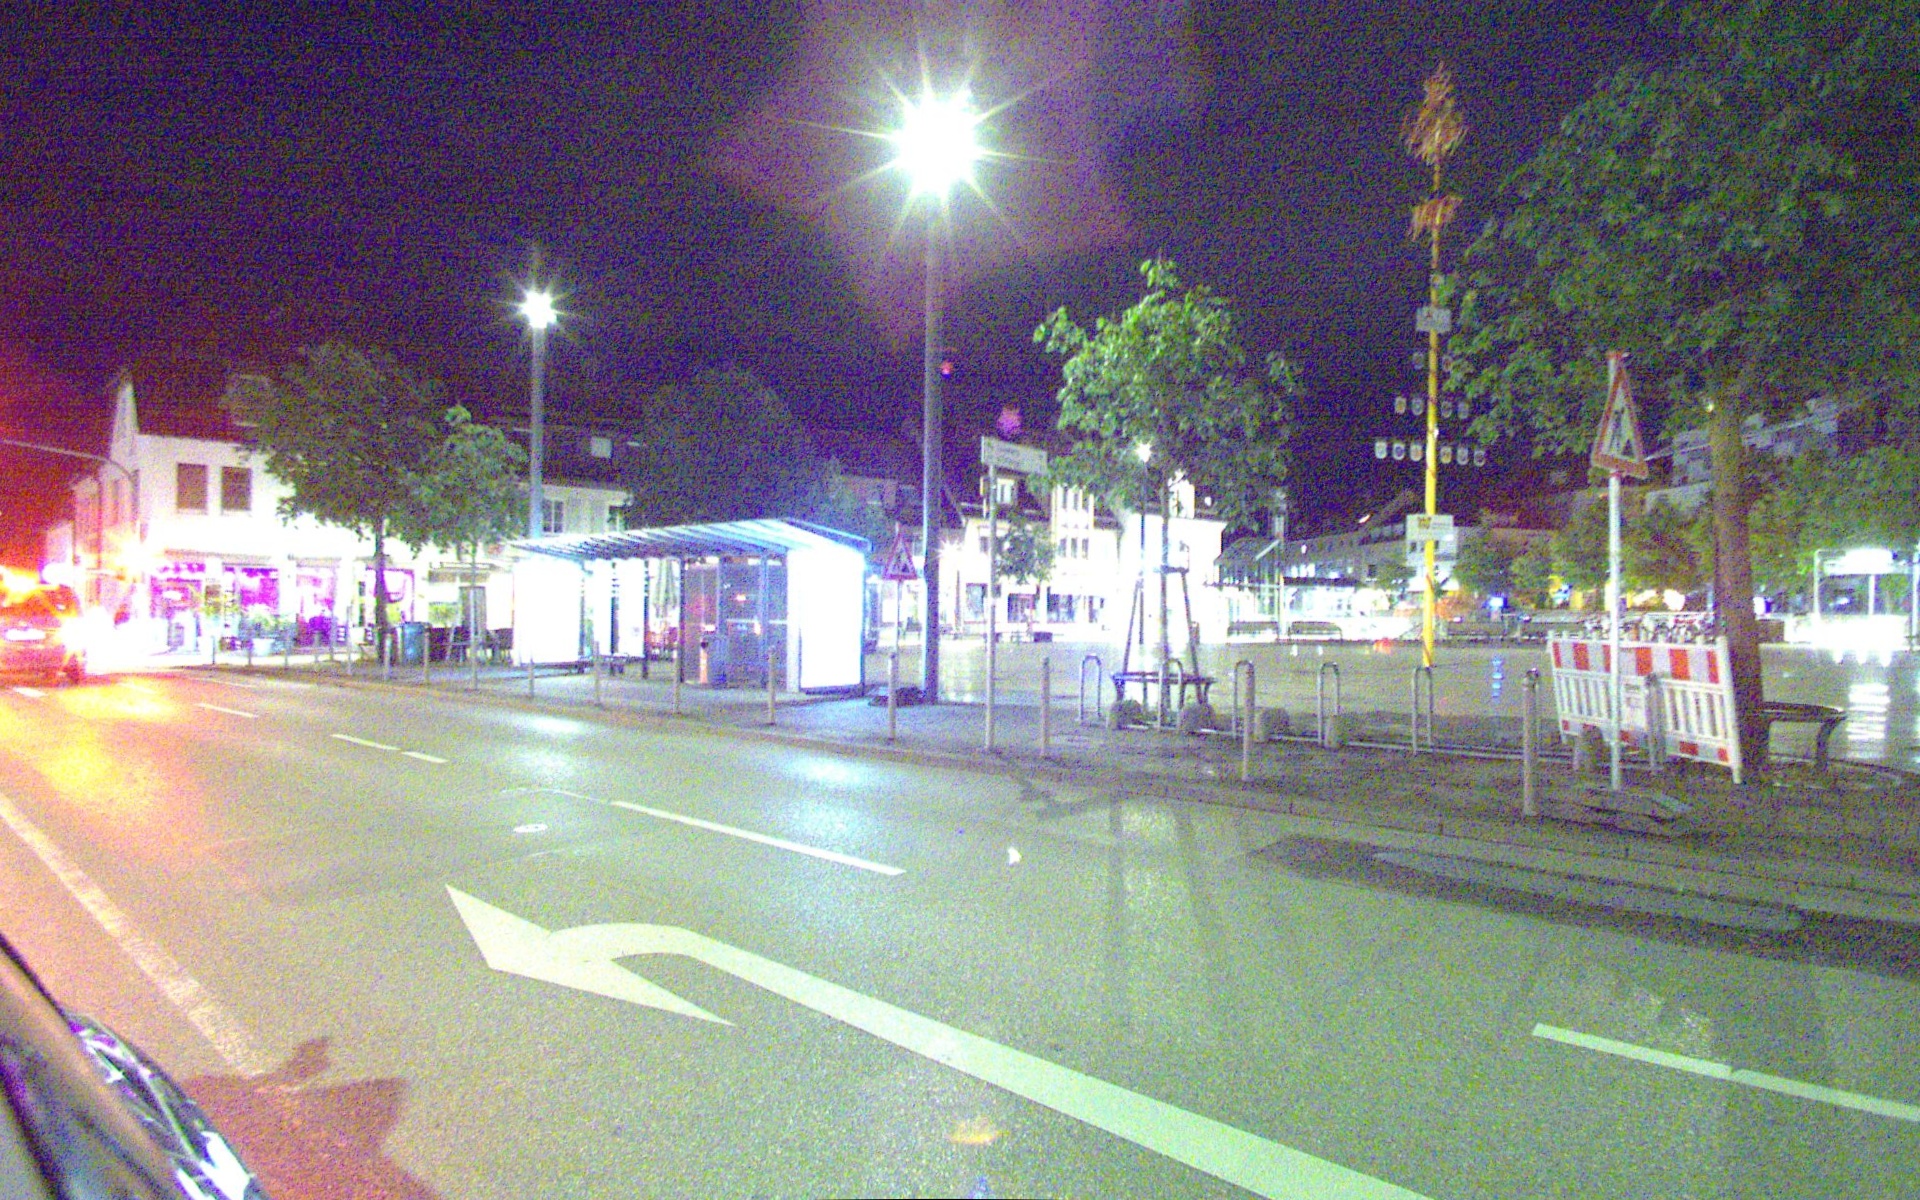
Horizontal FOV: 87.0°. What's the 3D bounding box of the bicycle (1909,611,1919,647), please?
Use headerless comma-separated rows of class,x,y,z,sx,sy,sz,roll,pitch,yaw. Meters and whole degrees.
bicycle,26.411,0.762,26.975,1.525,0.965,0.476,-1,0,25

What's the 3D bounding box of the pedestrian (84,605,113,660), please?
pedestrian,-26.012,0.968,30.574,0.637,1.640,0.584,-1,0,-39

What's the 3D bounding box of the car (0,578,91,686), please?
car,-18.520,0.593,19.600,4.911,1.886,1.946,-1,-1,42

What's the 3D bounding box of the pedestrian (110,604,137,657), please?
pedestrian,-26.717,0.965,32.333,0.637,1.640,0.584,-1,0,-39
